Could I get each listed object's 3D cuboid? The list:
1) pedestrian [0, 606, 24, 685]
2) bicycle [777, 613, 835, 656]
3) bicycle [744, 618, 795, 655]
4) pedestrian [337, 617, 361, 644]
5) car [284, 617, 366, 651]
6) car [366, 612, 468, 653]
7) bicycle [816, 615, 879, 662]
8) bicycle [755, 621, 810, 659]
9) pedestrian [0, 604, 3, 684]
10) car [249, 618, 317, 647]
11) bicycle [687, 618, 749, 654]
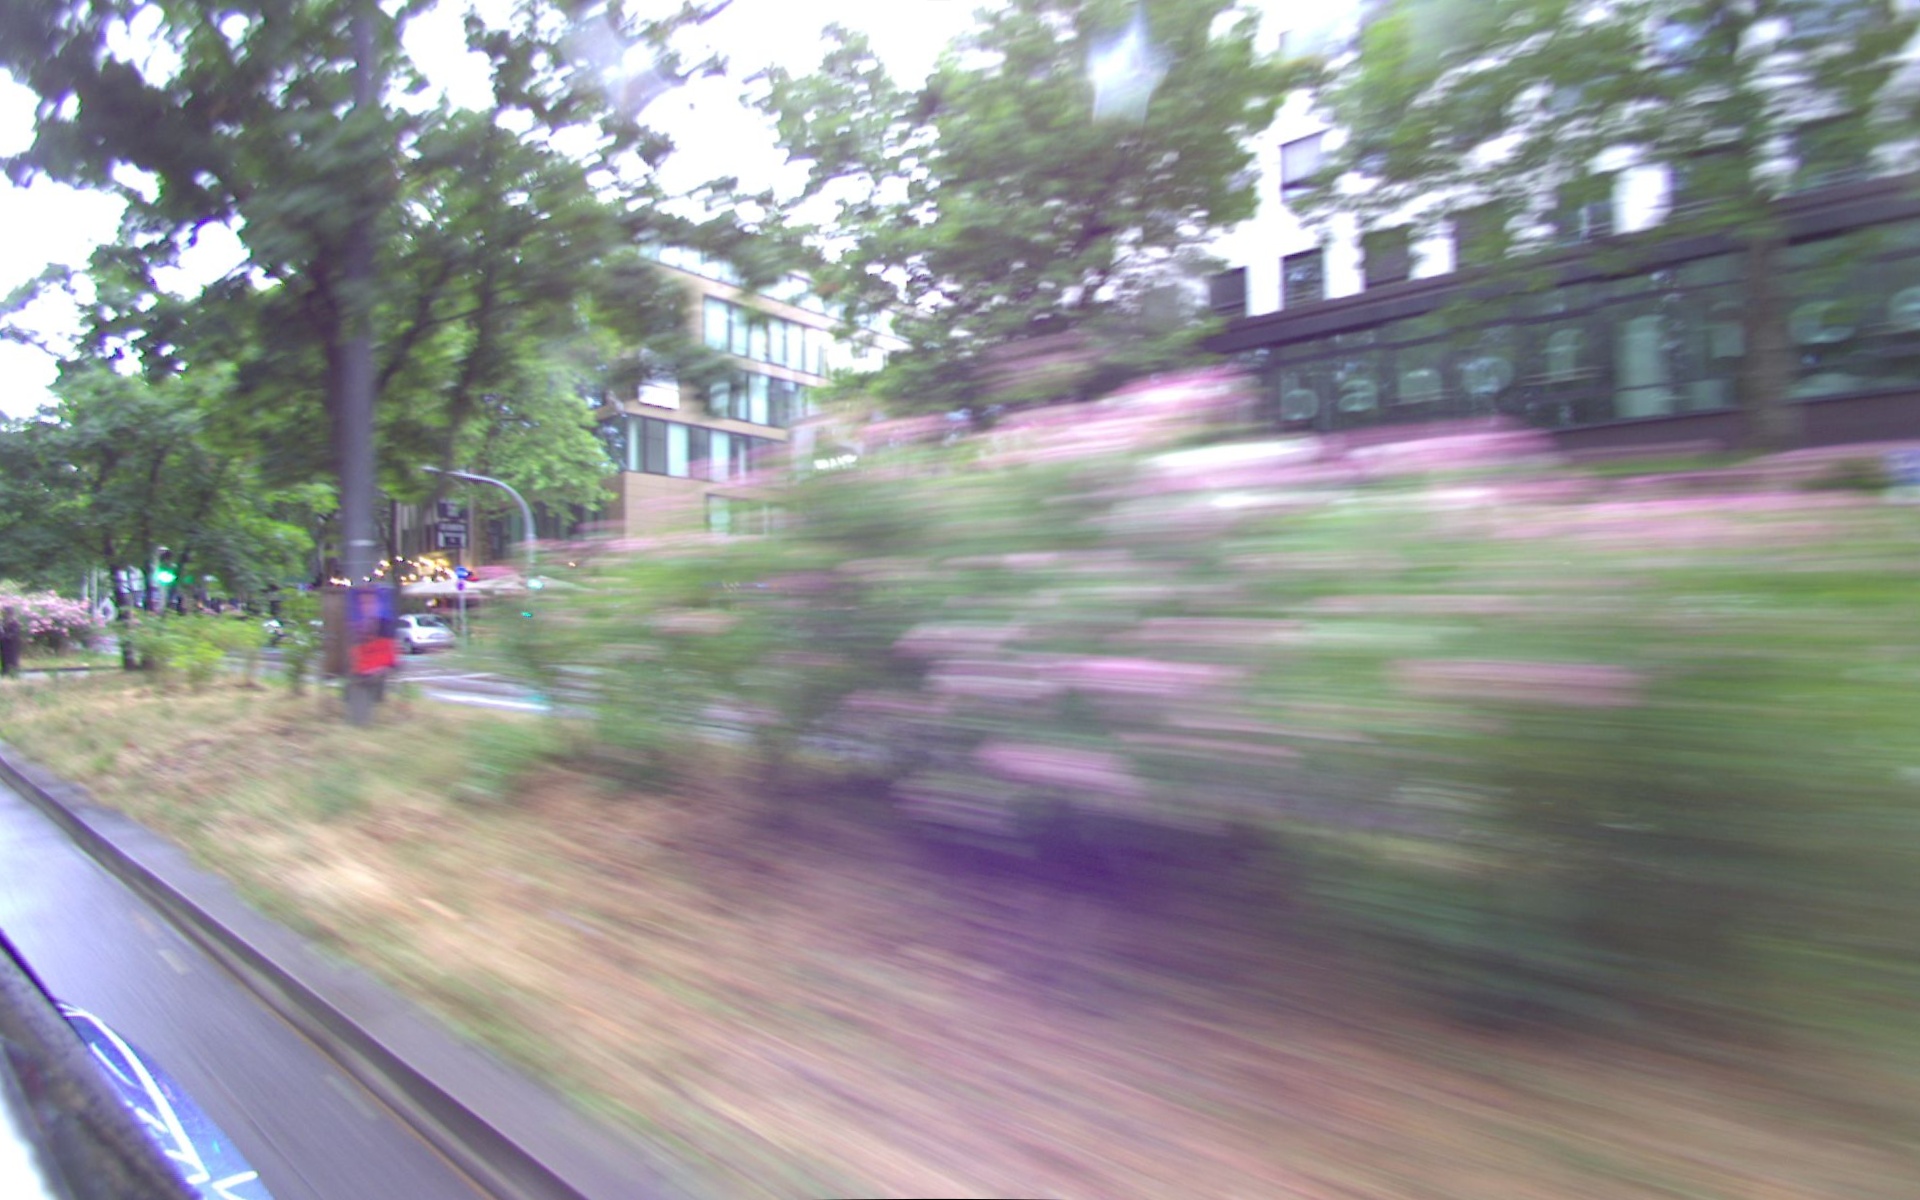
[{"bbox_3d":[-20.871,0.990,22.206,0.323,1.733,0.396,-1,-1,26],"label":"pedestrian"},{"bbox_3d":[-4.104,0.913,27.071,0.564,1.099,1.656,-2,-1,34],"label":"bicycle"},{"bbox_3d":[-5.273,0.994,28.070,0.564,0.986,1.451,-2,-1,33],"label":"bicycle"},{"bbox_3d":[-32.111,1.579,53.184,0.932,1.390,0.756,-2,-1,38],"label":"pedestrian"},{"bbox_3d":[-29.204,1.540,46.479,4.538,1.380,1.973,-2,1,42],"label":"car"},{"bbox_3d":[-21.346,1.276,39.704,4.514,1.520,1.974,-2,-2,40],"label":"car"},{"bbox_3d":[-2.878,0.965,26.009,0.564,1.145,1.829,-2,-1,34],"label":"bicycle"},{"bbox_3d":[-4.809,1.075,27.464,0.508,0.970,1.604,-2,-1,34],"label":"bicycle"},{"bbox_3d":[-20.819,0.944,21.547,0.402,1.711,0.569,-1,-1,29],"label":"pedestrian"},{"bbox_3d":[-33.996,1.614,50.773,4.482,1.405,1.806,-1,-1,42],"label":"car"},{"bbox_3d":[-7.054,1.034,29.563,0.565,0.986,1.826,-2,-1,38],"label":"bicycle"}]
